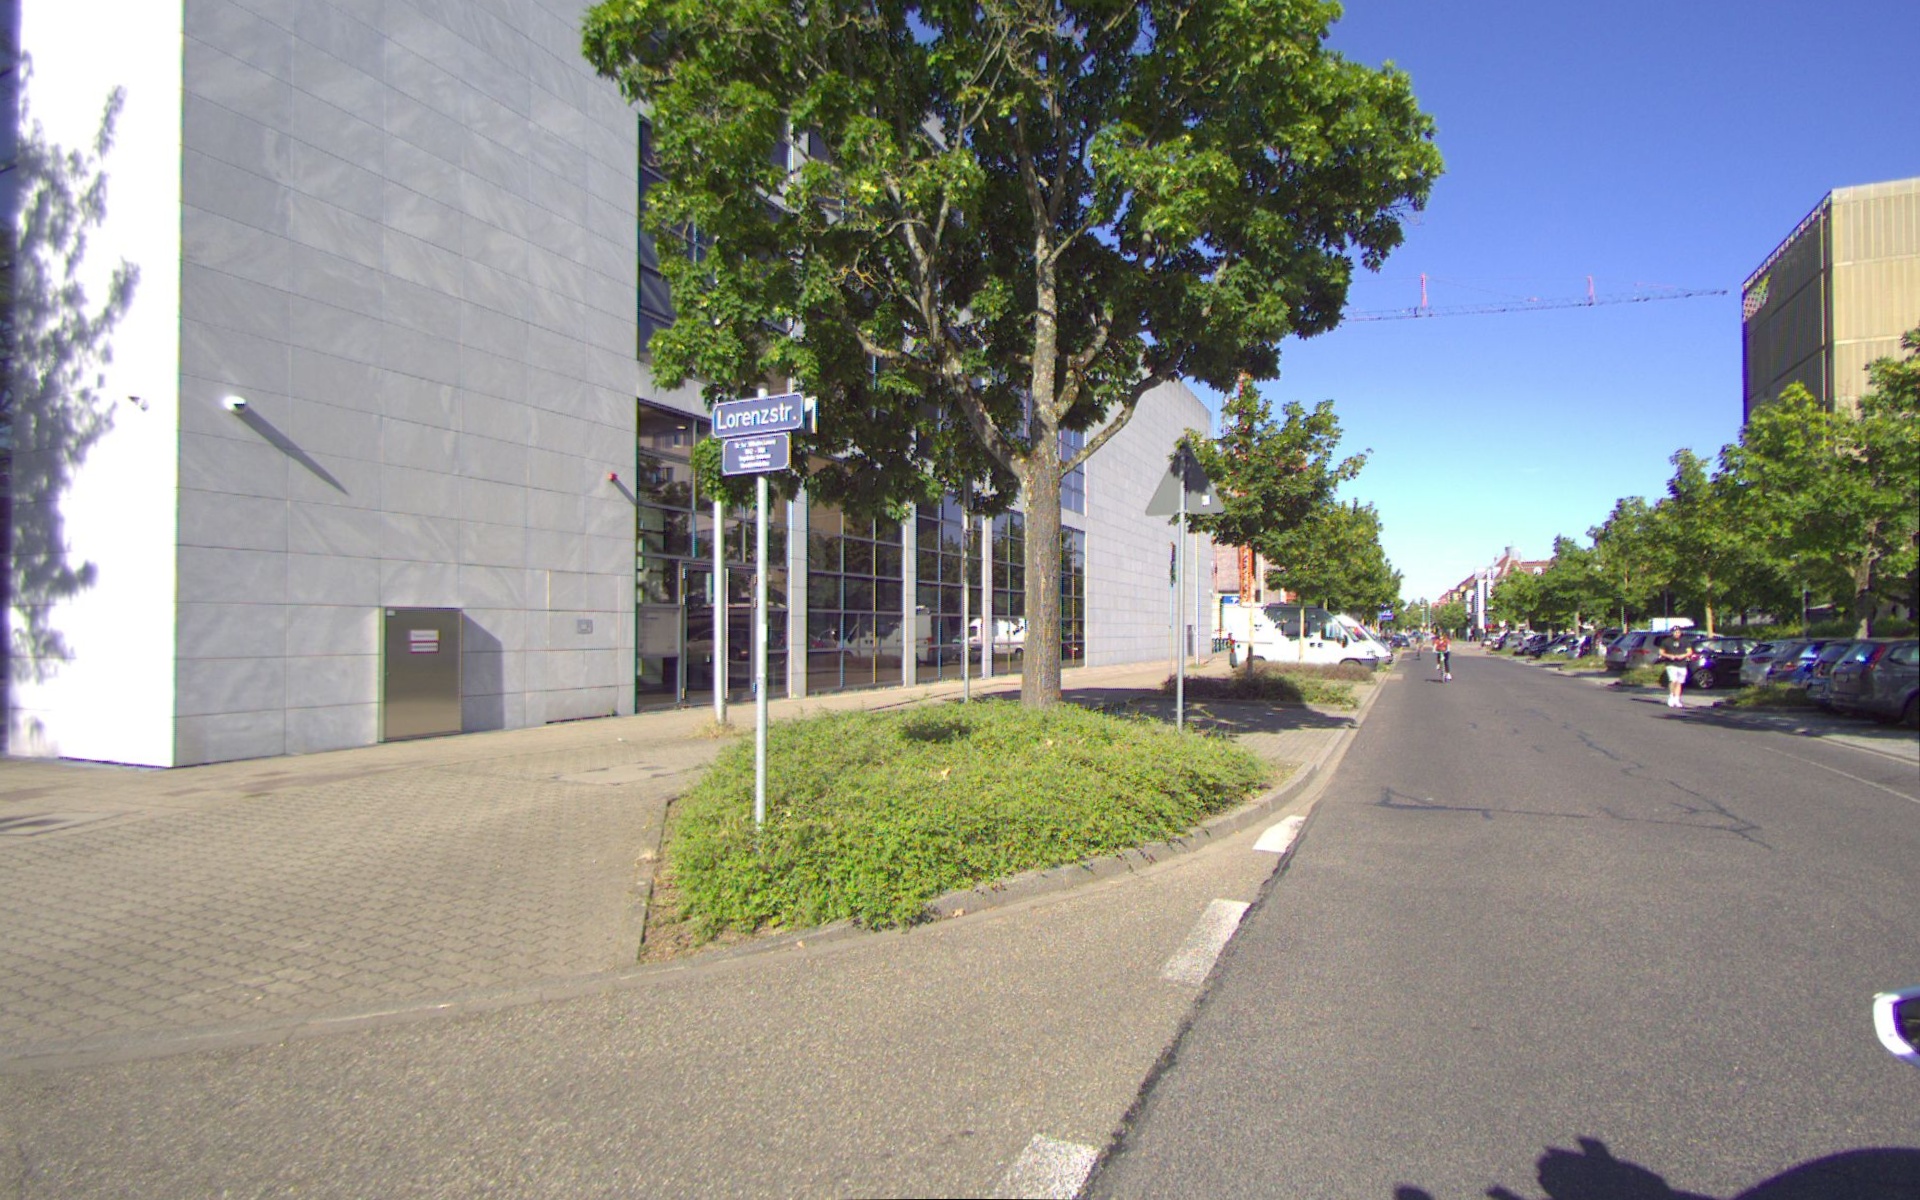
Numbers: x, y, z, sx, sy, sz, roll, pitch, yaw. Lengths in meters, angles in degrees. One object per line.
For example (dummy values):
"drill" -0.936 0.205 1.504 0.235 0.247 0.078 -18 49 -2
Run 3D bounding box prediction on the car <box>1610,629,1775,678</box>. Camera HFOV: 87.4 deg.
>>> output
"car" 25.524 1.861 35.182 4.250 1.629 1.912 -2 -2 21

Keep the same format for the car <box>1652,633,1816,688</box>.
"car" 22.483 1.787 29.350 3.398 1.508 1.746 -2 -3 23

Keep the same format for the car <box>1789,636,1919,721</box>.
"car" 17.996 1.419 18.533 3.837 1.487 1.620 -1 -1 23

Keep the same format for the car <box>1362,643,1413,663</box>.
"car" 38.412 4.751 90.239 4.194 1.687 1.598 -1 -1 24

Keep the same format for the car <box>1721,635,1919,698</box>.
"car" 21.131 1.597 24.589 3.676 1.435 1.840 -2 -2 27

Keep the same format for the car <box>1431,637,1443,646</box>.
"car" 82.728 7.238 174.204 1.784 1.494 4.107 -1 -1 25

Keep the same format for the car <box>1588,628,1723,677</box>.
"car" 26.024 1.945 37.746 3.837 1.718 1.939 -1 -1 23

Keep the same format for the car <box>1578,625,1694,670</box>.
"car" 30.992 2.174 46.185 4.053 1.953 1.977 -1 -1 23

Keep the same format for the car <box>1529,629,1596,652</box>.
"car" 43.183 2.923 72.084 3.925 1.602 2.030 -1 -3 26

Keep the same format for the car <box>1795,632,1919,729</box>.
"car" 16.642 1.286 16.494 4.119 1.539 1.736 -2 -2 23

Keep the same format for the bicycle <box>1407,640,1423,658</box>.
"bicycle" 29.112 3.139 64.253 0.688 1.125 2.076 -3 -3 29

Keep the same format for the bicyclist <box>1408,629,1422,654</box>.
"bicyclist" 29.123 2.640 64.320 0.673 1.601 1.059 -3 -3 29

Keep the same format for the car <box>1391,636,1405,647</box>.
"car" 66.260 6.240 151.987 1.783 1.494 4.108 -1 -1 24

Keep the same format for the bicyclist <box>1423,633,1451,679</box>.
"bicyclist" 15.633 1.820 32.916 0.746 1.450 1.131 -3 -3 26

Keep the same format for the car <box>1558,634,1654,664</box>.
"car" 33.847 2.573 52.759 4.000 1.444 1.740 -3 -3 26

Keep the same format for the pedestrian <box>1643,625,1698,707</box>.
"pedestrian" 16.174 1.498 22.888 0.707 1.794 1.168 -3 -3 23

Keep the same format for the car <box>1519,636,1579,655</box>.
"car" 44.886 3.468 76.608 3.707 1.478 1.816 -1 -3 25

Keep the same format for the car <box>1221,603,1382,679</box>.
"car" 12.188 1.409 35.869 5.167 2.450 2.121 1 -1 26

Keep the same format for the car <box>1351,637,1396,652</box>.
"car" 43.260 4.666 105.156 4.261 1.494 1.817 -1 -1 22

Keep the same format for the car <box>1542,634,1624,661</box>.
"car" 36.563 2.799 59.047 3.839 1.505 1.742 -1 -2 24

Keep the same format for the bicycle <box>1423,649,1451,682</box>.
"bicycle" 15.626 2.147 32.880 0.746 1.015 1.870 -3 -3 26

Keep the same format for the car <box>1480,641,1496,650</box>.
"car" 91.480 7.867 174.068 1.957 1.494 4.109 -1 -1 23

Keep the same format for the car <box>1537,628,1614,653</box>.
"car" 37.786 2.502 61.760 3.800 1.524 1.652 -1 -2 23

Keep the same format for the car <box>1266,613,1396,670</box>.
"car" 17.203 1.872 46.649 5.466 2.442 1.985 1 -1 27

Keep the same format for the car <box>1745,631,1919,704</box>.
"car" 20.120 1.473 22.349 3.835 1.517 1.840 -2 -2 27

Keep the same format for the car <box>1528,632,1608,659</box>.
"car" 38.649 2.898 63.936 4.079 1.601 1.740 -2 -2 24
